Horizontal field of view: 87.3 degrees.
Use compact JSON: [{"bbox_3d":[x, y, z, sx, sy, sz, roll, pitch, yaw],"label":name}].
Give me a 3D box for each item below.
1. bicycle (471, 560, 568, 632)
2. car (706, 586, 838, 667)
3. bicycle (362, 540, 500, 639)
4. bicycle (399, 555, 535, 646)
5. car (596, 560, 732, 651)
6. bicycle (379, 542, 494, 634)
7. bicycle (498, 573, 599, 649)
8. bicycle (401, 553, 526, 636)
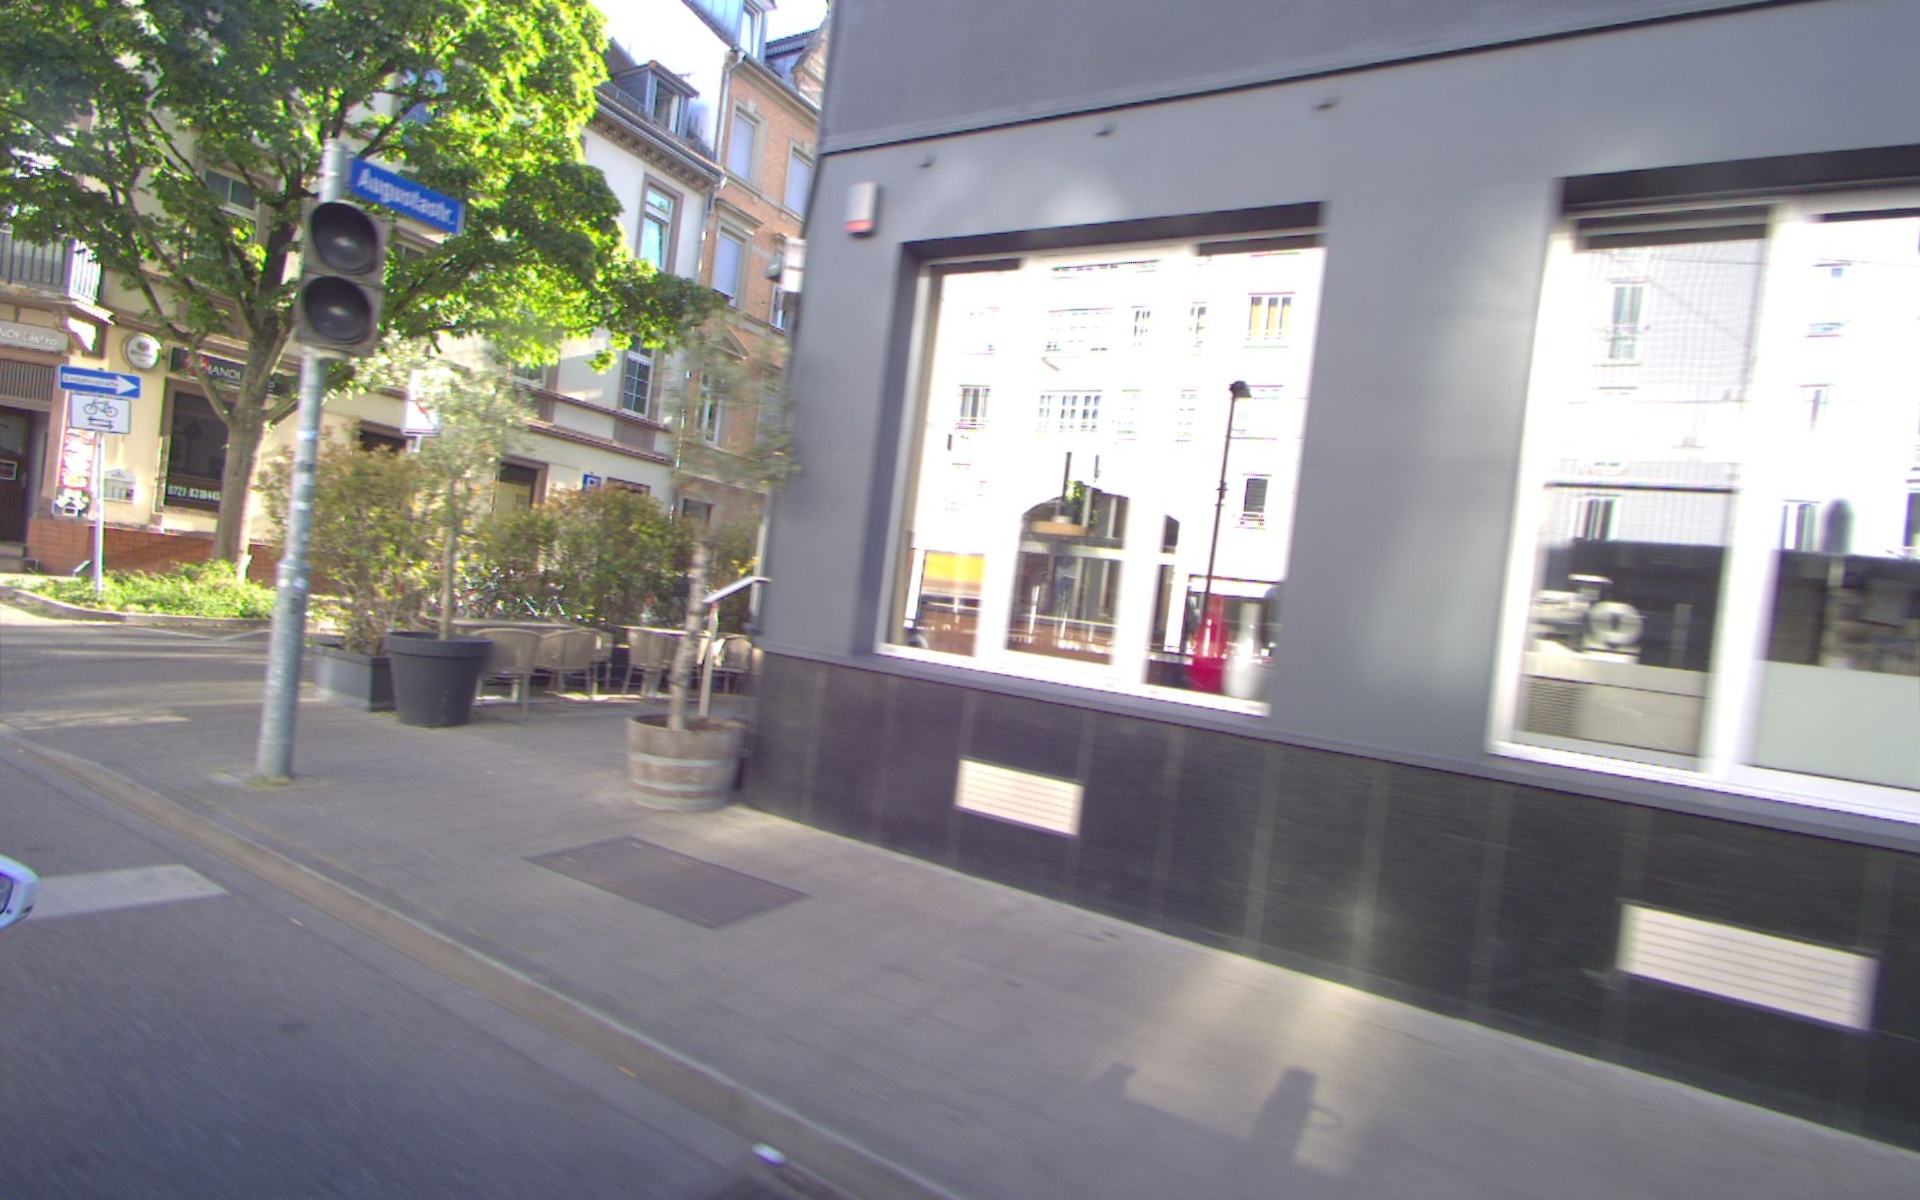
[{"bbox_3d":[-8.633,-0.069,19.755,1.575,1.137,0.344,10,1,-26],"label":"bicycle"},{"bbox_3d":[-4.487,0.573,23.574,1.690,1.527,3.785,9,-3,-31],"label":"car"},{"bbox_3d":[-8.696,-0.167,16.606,1.828,1.309,0.344,10,1,-26],"label":"bicycle"},{"bbox_3d":[-8.062,0.021,16.515,1.828,1.174,0.344,10,1,-26],"label":"bicycle"},{"bbox_3d":[-6.290,0.081,21.113,1.690,1.527,3.785,9,-3,-31],"label":"car"},{"bbox_3d":[-8.919,-0.195,17.181,1.553,1.309,0.344,10,1,-26],"label":"bicycle"},{"bbox_3d":[-7.306,0.203,17.892,1.514,1.081,0.344,10,1,-26],"label":"bicycle"},{"bbox_3d":[-8.759,-0.086,17.816,1.828,1.137,0.344,10,1,-26],"label":"bicycle"}]
